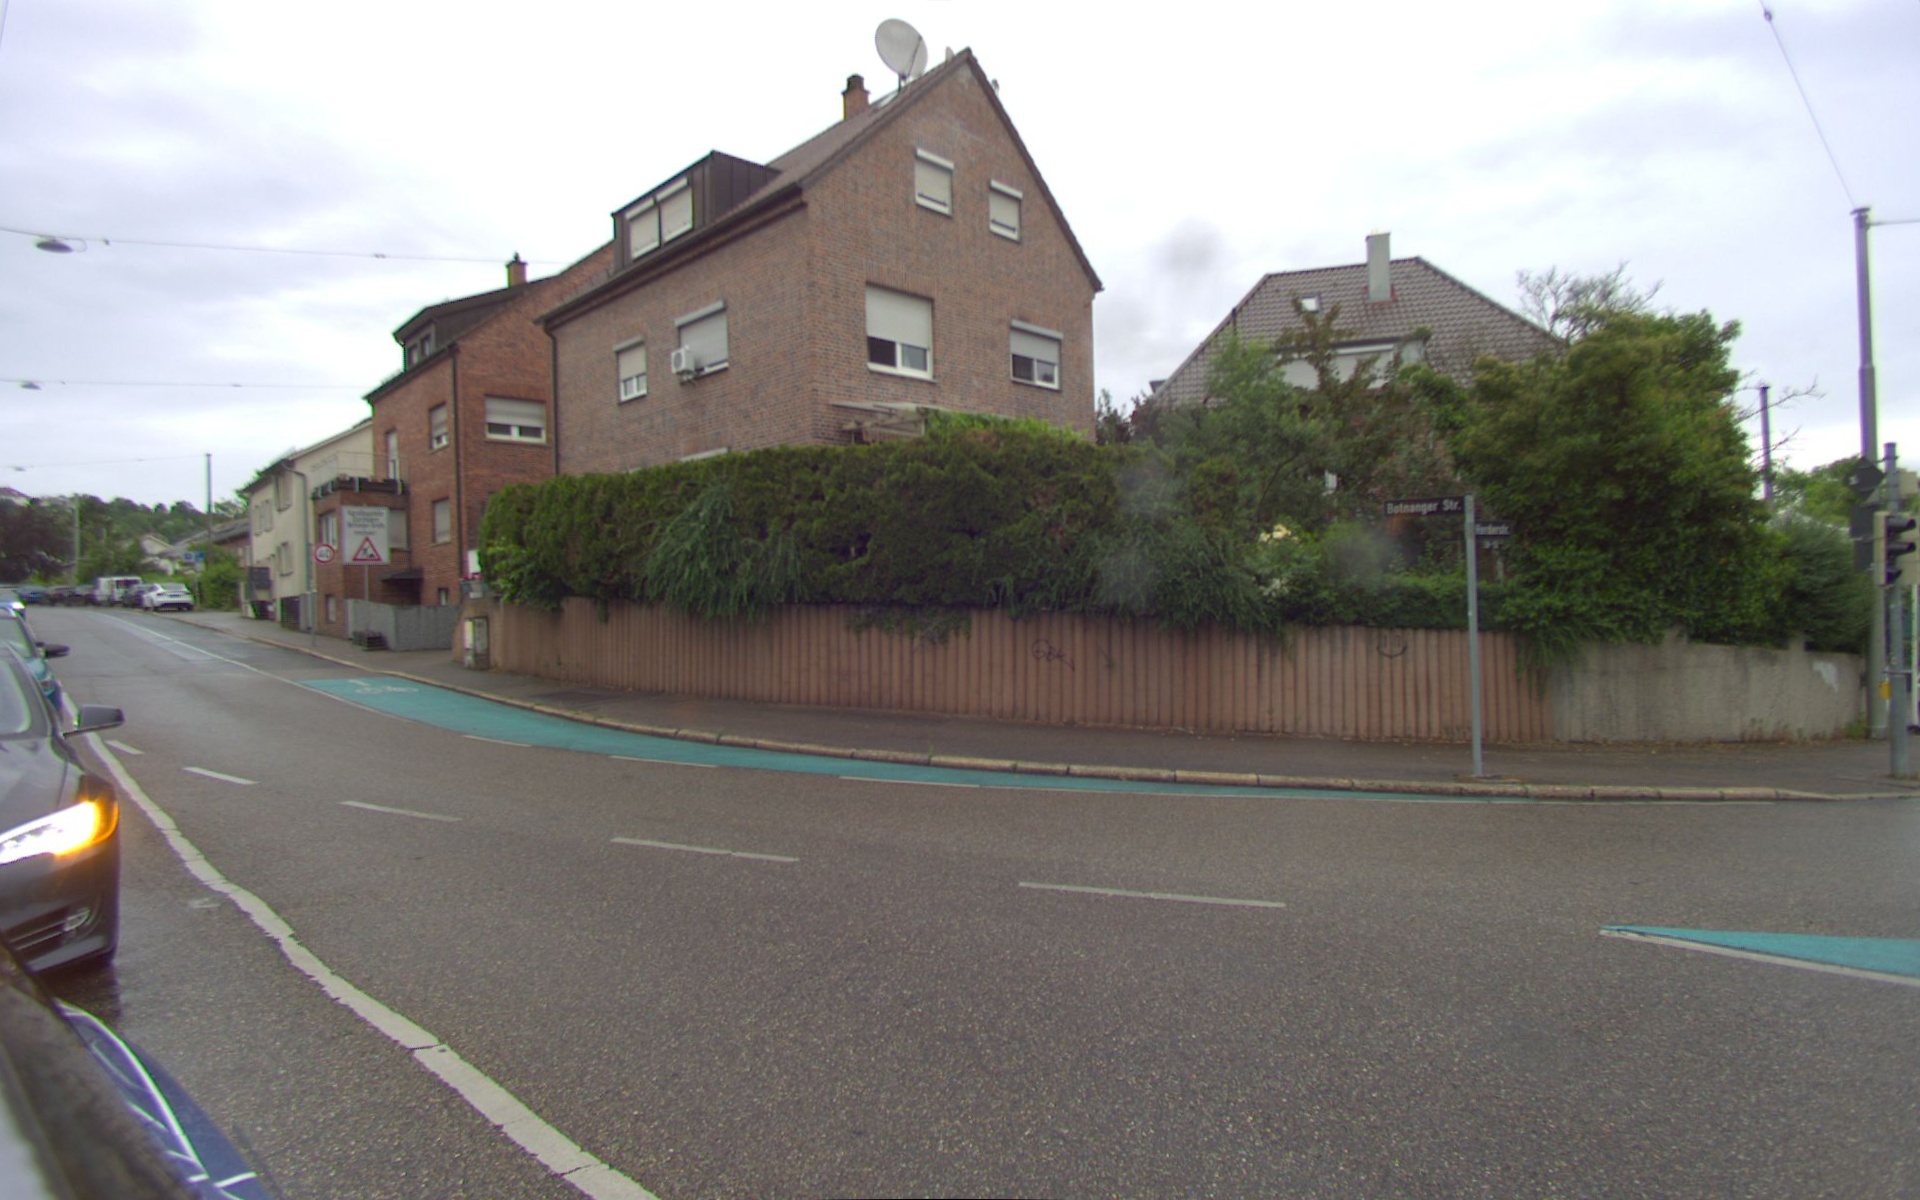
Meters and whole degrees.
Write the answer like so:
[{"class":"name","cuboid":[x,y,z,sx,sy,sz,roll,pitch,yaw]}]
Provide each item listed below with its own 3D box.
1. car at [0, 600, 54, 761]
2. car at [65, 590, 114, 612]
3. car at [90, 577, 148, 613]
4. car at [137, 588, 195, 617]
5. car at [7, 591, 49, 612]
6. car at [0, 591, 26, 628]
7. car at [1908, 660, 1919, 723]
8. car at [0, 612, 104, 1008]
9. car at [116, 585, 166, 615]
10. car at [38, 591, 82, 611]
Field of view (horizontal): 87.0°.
[{"class":"car","cuboid":[-11.244,0.805,11.076,3.785,1.601,1.765,0,0,45]},{"class":"car","cuboid":[-61.527,0.087,71.521,4.002,1.501,1.636,-1,2,34]},{"class":"car","cuboid":[-57.024,-0.337,68.577,4.544,2.303,2.229,0,2,41]},{"class":"car","cuboid":[-46.428,0.147,59.127,4.262,1.577,1.921,0,2,42]},{"class":"car","cuboid":[-71.183,0.125,77.258,3.895,1.501,1.605,-1,2,36]},{"class":"car","cuboid":[-47.224,0.492,49.717,4.001,1.744,1.792,-3,-2,44]},{"class":"car","cuboid":[25.776,2.280,24.644,1.837,1.644,4.297,-1,-3,11]},{"class":"car","cuboid":[-5.401,0.797,4.700,4.002,1.426,1.845,0,0,45]},{"class":"car","cuboid":[-52.377,-0.026,64.719,4.262,1.817,1.791,0,2,42]},{"class":"car","cuboid":[-66.550,0.071,74.798,3.854,1.407,1.635,-1,2,36]}]
